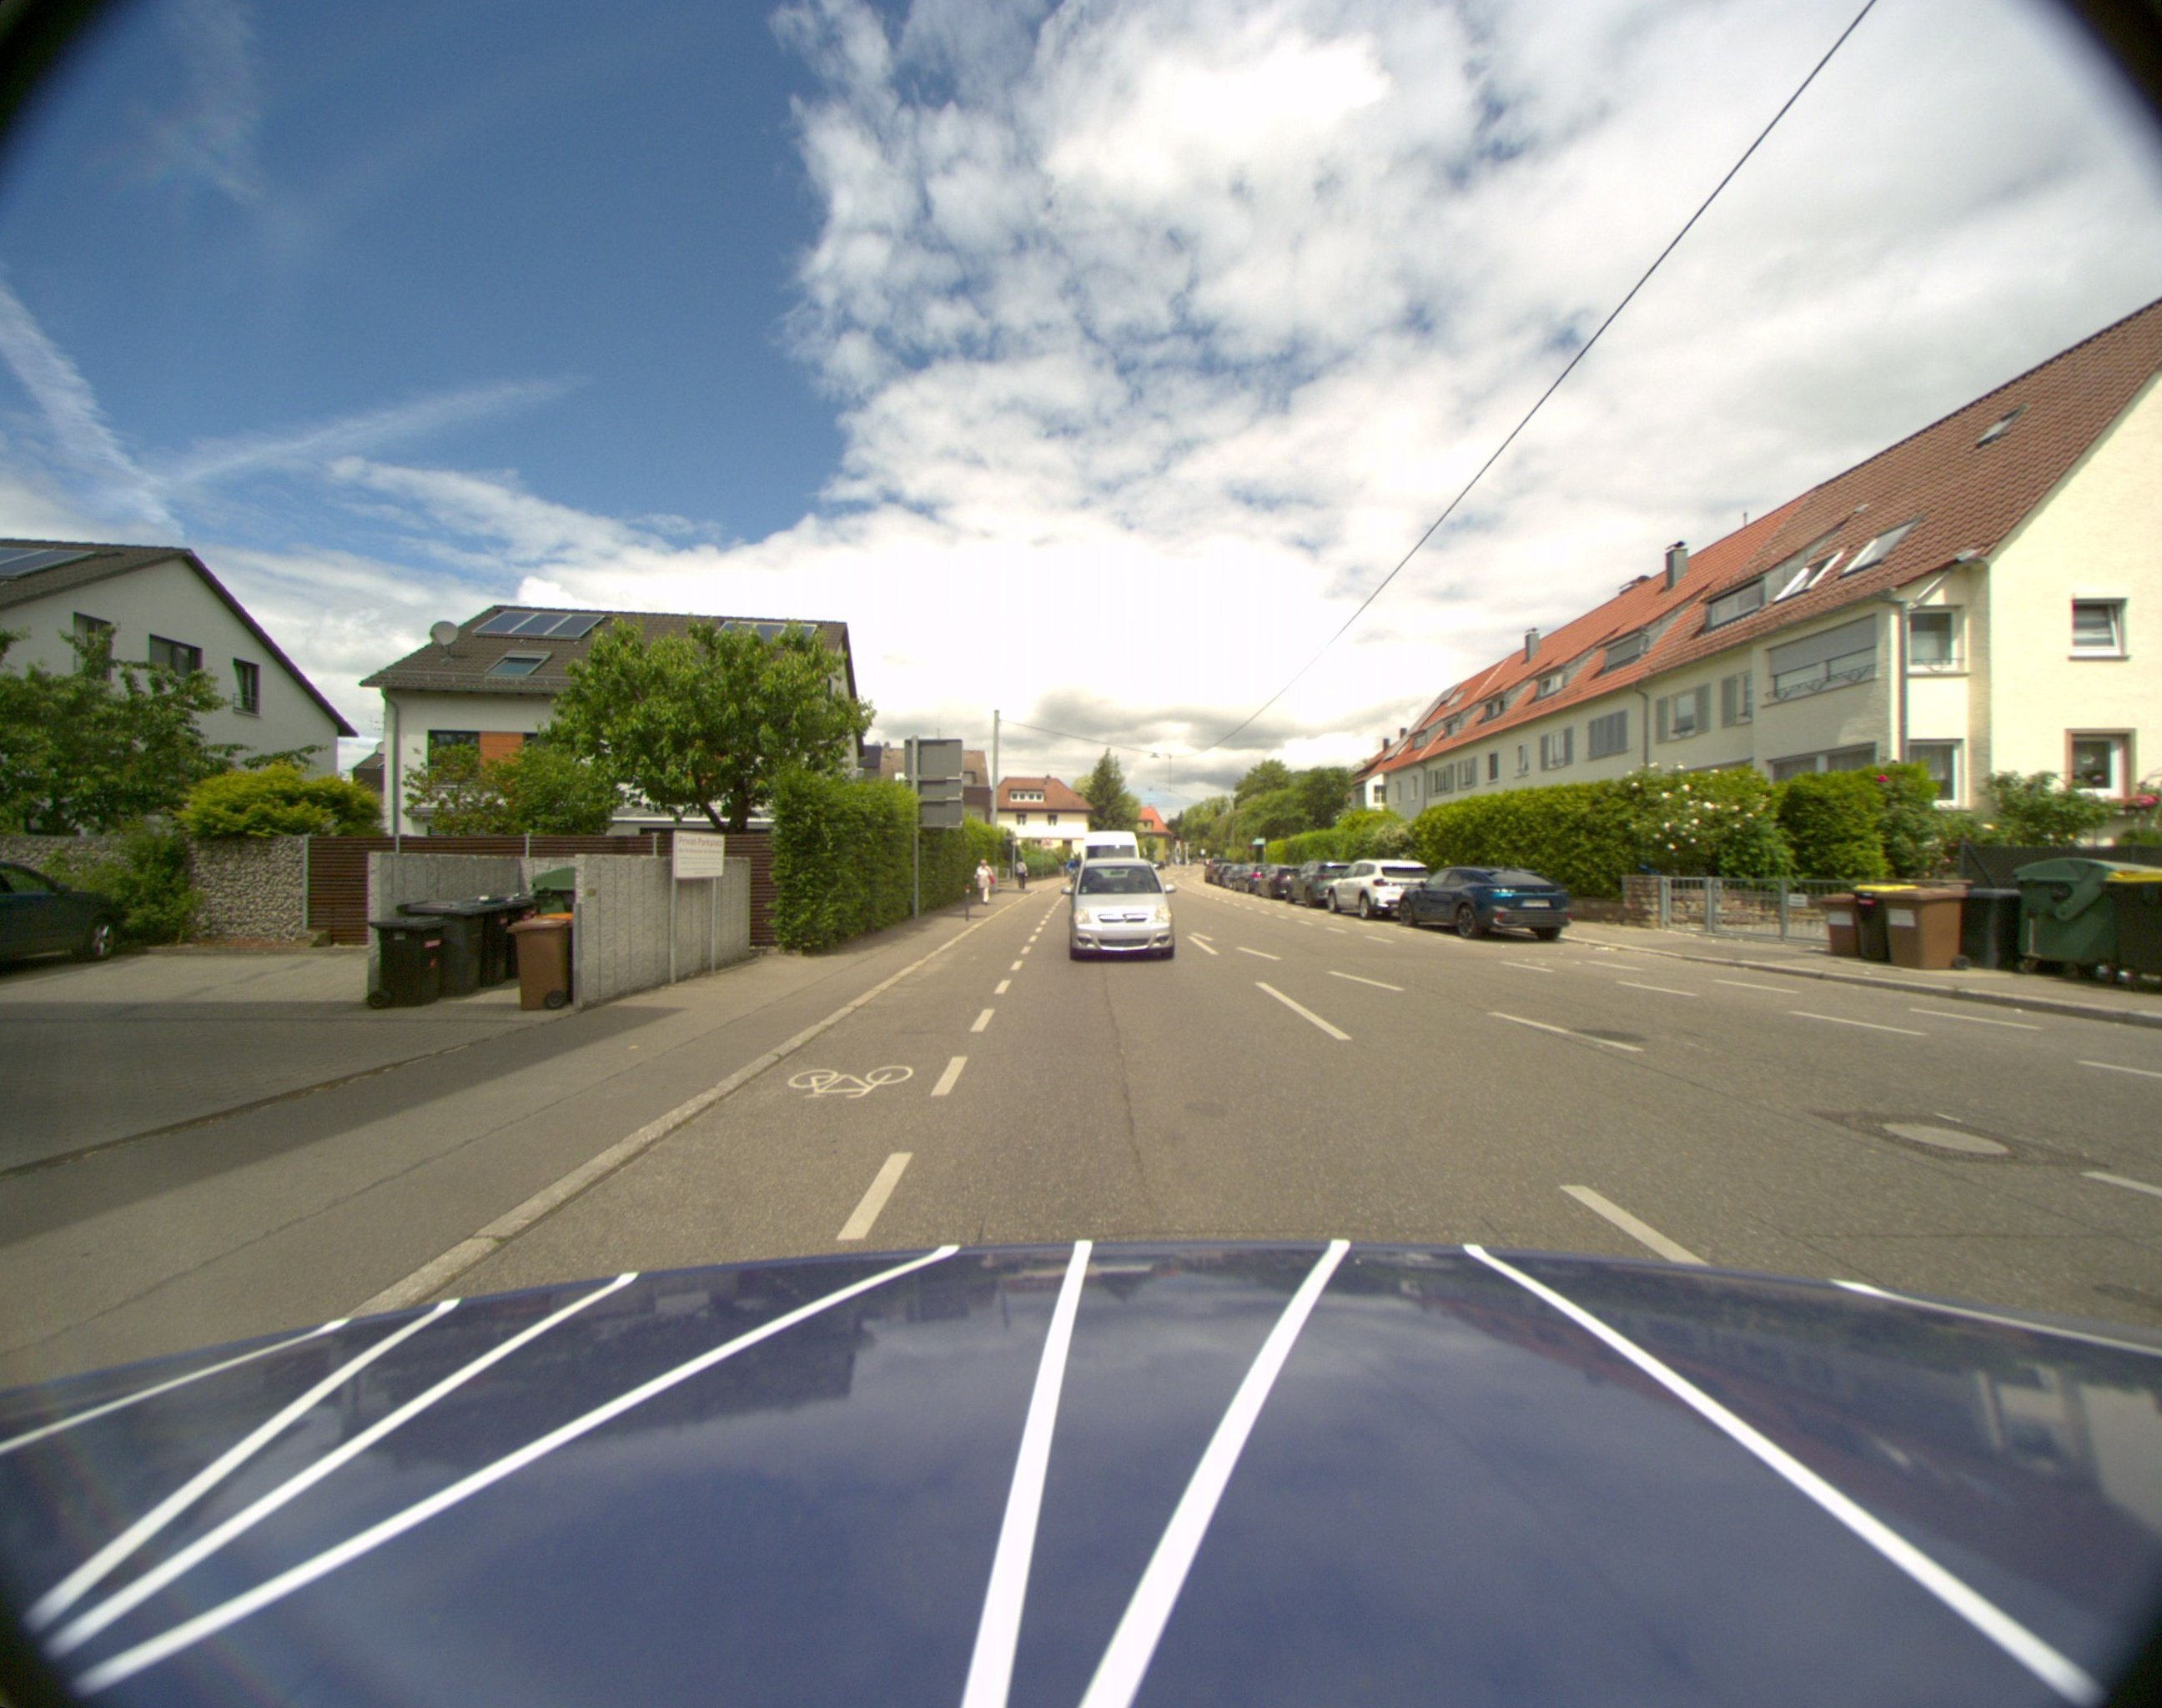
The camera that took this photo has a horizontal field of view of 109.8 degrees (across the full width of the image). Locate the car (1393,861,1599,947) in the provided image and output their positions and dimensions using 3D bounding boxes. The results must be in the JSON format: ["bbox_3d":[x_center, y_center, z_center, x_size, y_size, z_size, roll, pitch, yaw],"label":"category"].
[{"bbox_3d":[8.722,0.955,16.530,1.999,1.578,4.488,0,0,-1],"label":"car"}]

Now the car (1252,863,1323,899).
[{"bbox_3d":[8.738,1.093,32.510,1.998,1.400,4.690,0,0,3],"label":"car"}]

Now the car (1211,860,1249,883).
[{"bbox_3d":[9.447,1.096,48.551,1.782,1.409,4.340,0,0,3],"label":"car"}]

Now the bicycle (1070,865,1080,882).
[{"bbox_3d":[-0.408,1.327,52.284,0.536,1.039,2.409,-1,0,2],"label":"bicycle"}]

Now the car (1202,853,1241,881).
[{"bbox_3d":[9.885,0.878,53.854,1.998,1.884,5.405,2,0,4],"label":"car"}]

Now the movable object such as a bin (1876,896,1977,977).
[{"bbox_3d":[11.135,1.075,10.026,0.597,1.001,0.658,0,0,1],"label":"movable object such as a bin"}]

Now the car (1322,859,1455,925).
[{"bbox_3d":[8.508,0.969,21.514,1.998,1.641,4.517,0,0,1],"label":"car"}]

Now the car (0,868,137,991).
[{"bbox_3d":[-14.695,0.971,9.707,1.790,1.527,3.789,0,0,-25],"label":"car"}]

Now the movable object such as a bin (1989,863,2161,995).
[{"bbox_3d":[12.187,0.850,9.147,1.068,1.473,1.214,0,0,-1],"label":"movable object such as a bin"}]

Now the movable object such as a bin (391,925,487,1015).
[{"bbox_3d":[-7.143,1.275,8.476,0.635,0.887,0.539,-1,0,-16],"label":"movable object such as a bin"}]

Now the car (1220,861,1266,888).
[{"bbox_3d":[9.140,1.133,43.255,1.782,1.409,4.440,0,0,2],"label":"car"}]

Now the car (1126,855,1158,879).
[{"bbox_3d":[4.679,0.969,58.080,1.931,1.771,4.003,-2,0,11],"label":"car"}]

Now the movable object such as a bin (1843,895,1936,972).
[{"bbox_3d":[11.358,1.099,10.692,0.597,1.018,0.658,0,0,1],"label":"movable object such as a bin"}]

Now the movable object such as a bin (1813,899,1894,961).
[{"bbox_3d":[11.518,1.123,11.346,0.597,0.874,0.614,0,0,1],"label":"movable object such as a bin"}]

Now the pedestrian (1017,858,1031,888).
[{"bbox_3d":[-3.058,1.013,40.514,0.604,1.596,0.836,2,0,2],"label":"pedestrian"}]

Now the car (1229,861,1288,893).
[{"bbox_3d":[8.761,1.095,37.937,1.782,1.483,4.565,0,0,-1],"label":"car"}]

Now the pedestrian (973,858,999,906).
[{"bbox_3d":[-3.286,0.960,26.335,0.800,1.608,0.653,1,1,2],"label":"pedestrian"}]

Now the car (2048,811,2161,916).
[{"bbox_3d":[19.402,0.103,12.771,3.997,1.696,1.803,-1,0,0],"label":"car"}]

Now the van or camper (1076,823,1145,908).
[{"bbox_3d":[1.014,0.426,26.315,2.029,2.564,5.924,-2,-1,2],"label":"van or camper"}]

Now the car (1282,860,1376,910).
[{"bbox_3d":[8.660,1.028,26.967,1.998,1.555,4.690,0,0,3],"label":"car"}]

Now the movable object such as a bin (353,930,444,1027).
[{"bbox_3d":[-7.086,1.275,7.911,0.494,0.907,0.539,-1,0,-16],"label":"movable object such as a bin"}]

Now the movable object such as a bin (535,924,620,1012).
[{"bbox_3d":[-5.723,1.281,8.662,0.533,0.887,0.679,-1,0,-5],"label":"movable object such as a bin"}]

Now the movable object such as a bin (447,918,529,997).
[{"bbox_3d":[-7.430,1.281,9.543,0.635,0.887,0.539,-1,0,-16],"label":"movable object such as a bin"}]

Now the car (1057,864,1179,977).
[{"bbox_3d":[0.694,0.982,13.070,1.707,1.531,4.332,-2,0,4],"label":"car"}]

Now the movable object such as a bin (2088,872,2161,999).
[{"bbox_3d":[11.816,0.855,7.905,1.067,1.305,1.214,0,0,2],"label":"movable object such as a bin"}]

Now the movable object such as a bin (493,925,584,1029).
[{"bbox_3d":[-5.618,1.250,7.902,0.534,0.945,0.686,-1,0,-13],"label":"movable object such as a bin"}]

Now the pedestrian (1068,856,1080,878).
[{"bbox_3d":[-0.473,0.878,52.323,0.736,1.508,0.872,-1,0,1],"label":"pedestrian"}]

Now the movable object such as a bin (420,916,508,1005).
[{"bbox_3d":[-7.294,1.242,9.009,0.629,0.962,0.539,-1,0,-16],"label":"movable object such as a bin"}]

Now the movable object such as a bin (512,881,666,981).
[{"bbox_3d":[-6.933,1.041,10.832,1.192,1.255,1.535,-1,0,-2],"label":"movable object such as a bin"}]
